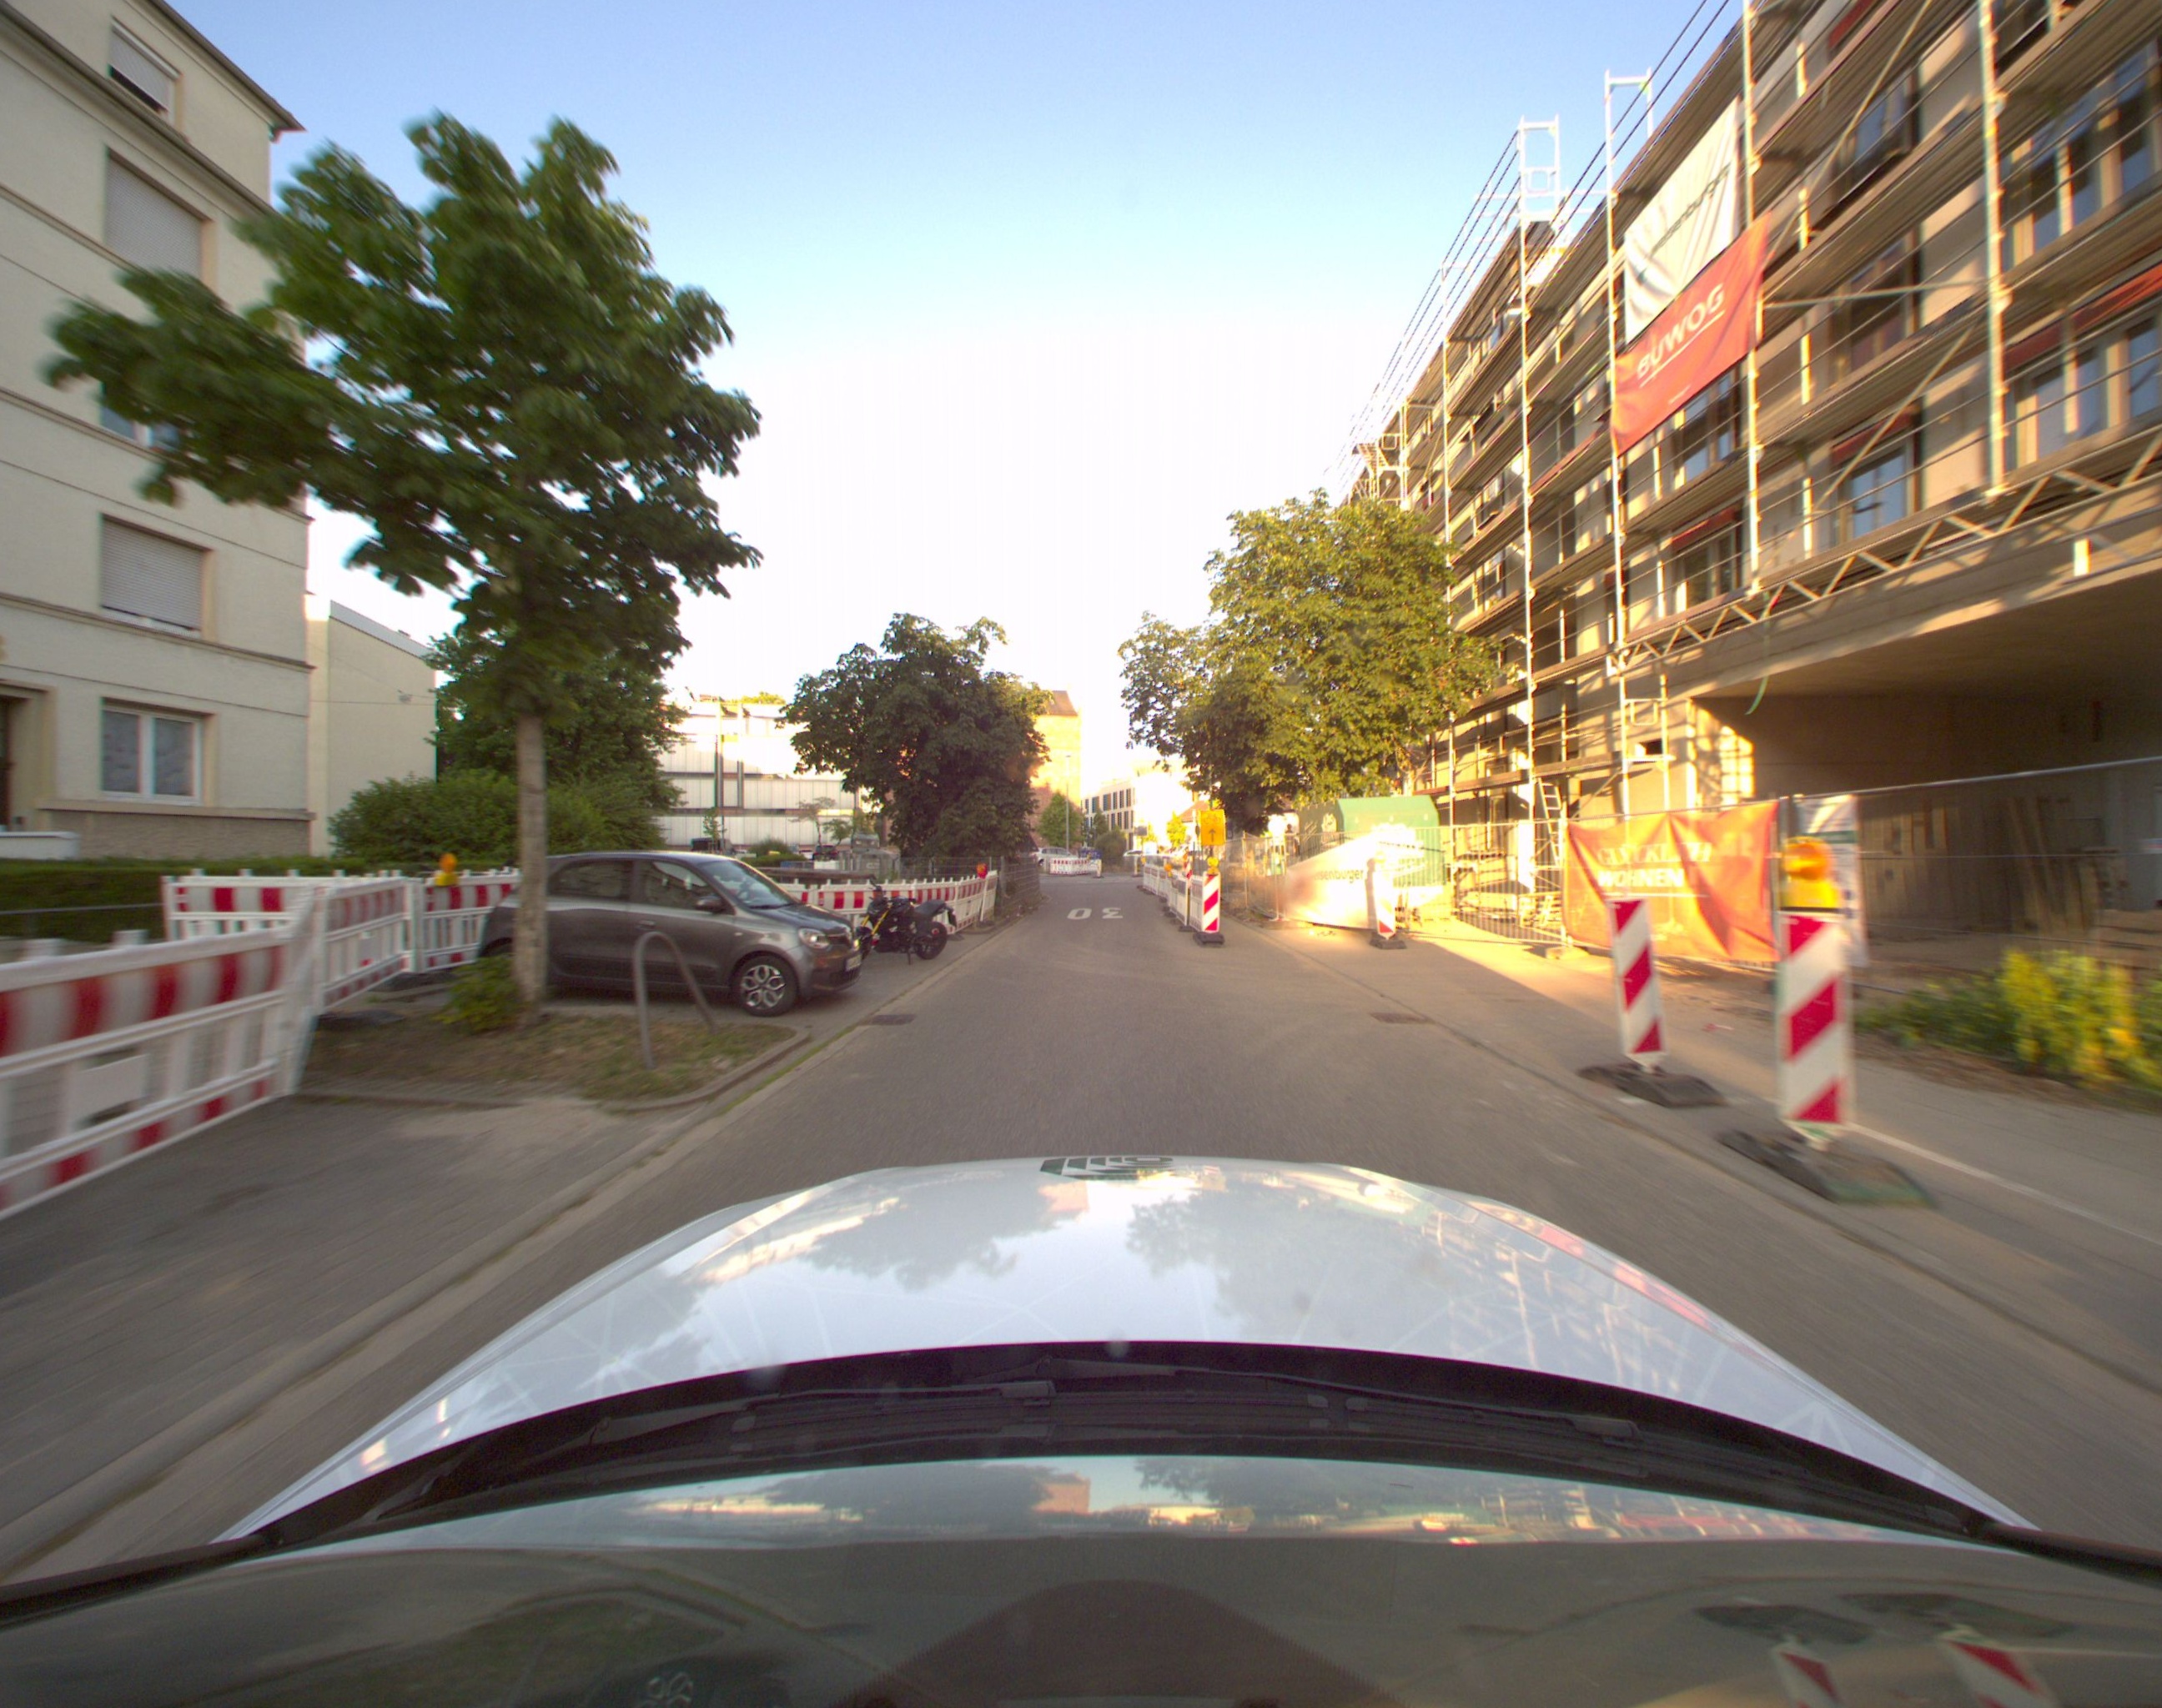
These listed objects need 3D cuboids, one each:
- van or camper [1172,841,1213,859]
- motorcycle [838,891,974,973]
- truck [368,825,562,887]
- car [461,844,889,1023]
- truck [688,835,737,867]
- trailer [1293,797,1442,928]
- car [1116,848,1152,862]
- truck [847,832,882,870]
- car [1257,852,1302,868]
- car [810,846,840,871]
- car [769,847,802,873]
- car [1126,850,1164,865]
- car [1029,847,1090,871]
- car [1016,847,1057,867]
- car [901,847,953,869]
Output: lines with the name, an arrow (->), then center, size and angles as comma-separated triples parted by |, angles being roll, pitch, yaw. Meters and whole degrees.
van or camper -> 14.181, -0.560, 103.767 | 4.978, 2.240, 1.676 | 0, 0, -19
motorcycle -> -2.500, 1.091, 11.942 | 0.532, 1.021, 2.225 | 2, 0, 31
truck -> -25.518, 0.024, 34.066 | 6.048, 2.422, 2.094 | -1, 1, -21
car -> -4.104, 0.755, 8.651 | 3.610, 1.557, 1.694 | 2, 0, 1
truck -> -25.020, -0.210, 55.405 | 2.107, 2.090, 4.494 | -1, 0, -12
trailer -> 6.135, 0.156, 17.981 | 1.985, 2.539, 4.189 | -1, 0, 3
car -> 5.972, 0.128, 91.503 | 3.752, 1.603, 1.676 | 0, 0, -19
truck -> -15.739, -0.213, 59.213 | 2.338, 2.617, 4.948 | -1, 0, -15
car -> 19.818, 0.600, 81.273 | 3.999, 1.573, 1.987 | 0, 0, -19
car -> -18.359, 0.315, 58.476 | 1.999, 1.692, 3.976 | -1, 0, -17
car -> -20.813, 0.398, 57.451 | 1.999, 1.727, 4.275 | -1, 0, -17
car -> 6.979, 0.384, 88.413 | 3.752, 1.603, 1.676 | 0, 0, -19
car -> -1.613, 0.333, 61.427 | 4.279, 1.708, 1.693 | -1, 0, -17
car -> -4.091, 0.284, 74.412 | 3.483, 1.708, 1.659 | -1, 0, -17
car -> -11.154, 0.268, 58.935 | 3.637, 1.503, 1.629 | -1, 0, -14
